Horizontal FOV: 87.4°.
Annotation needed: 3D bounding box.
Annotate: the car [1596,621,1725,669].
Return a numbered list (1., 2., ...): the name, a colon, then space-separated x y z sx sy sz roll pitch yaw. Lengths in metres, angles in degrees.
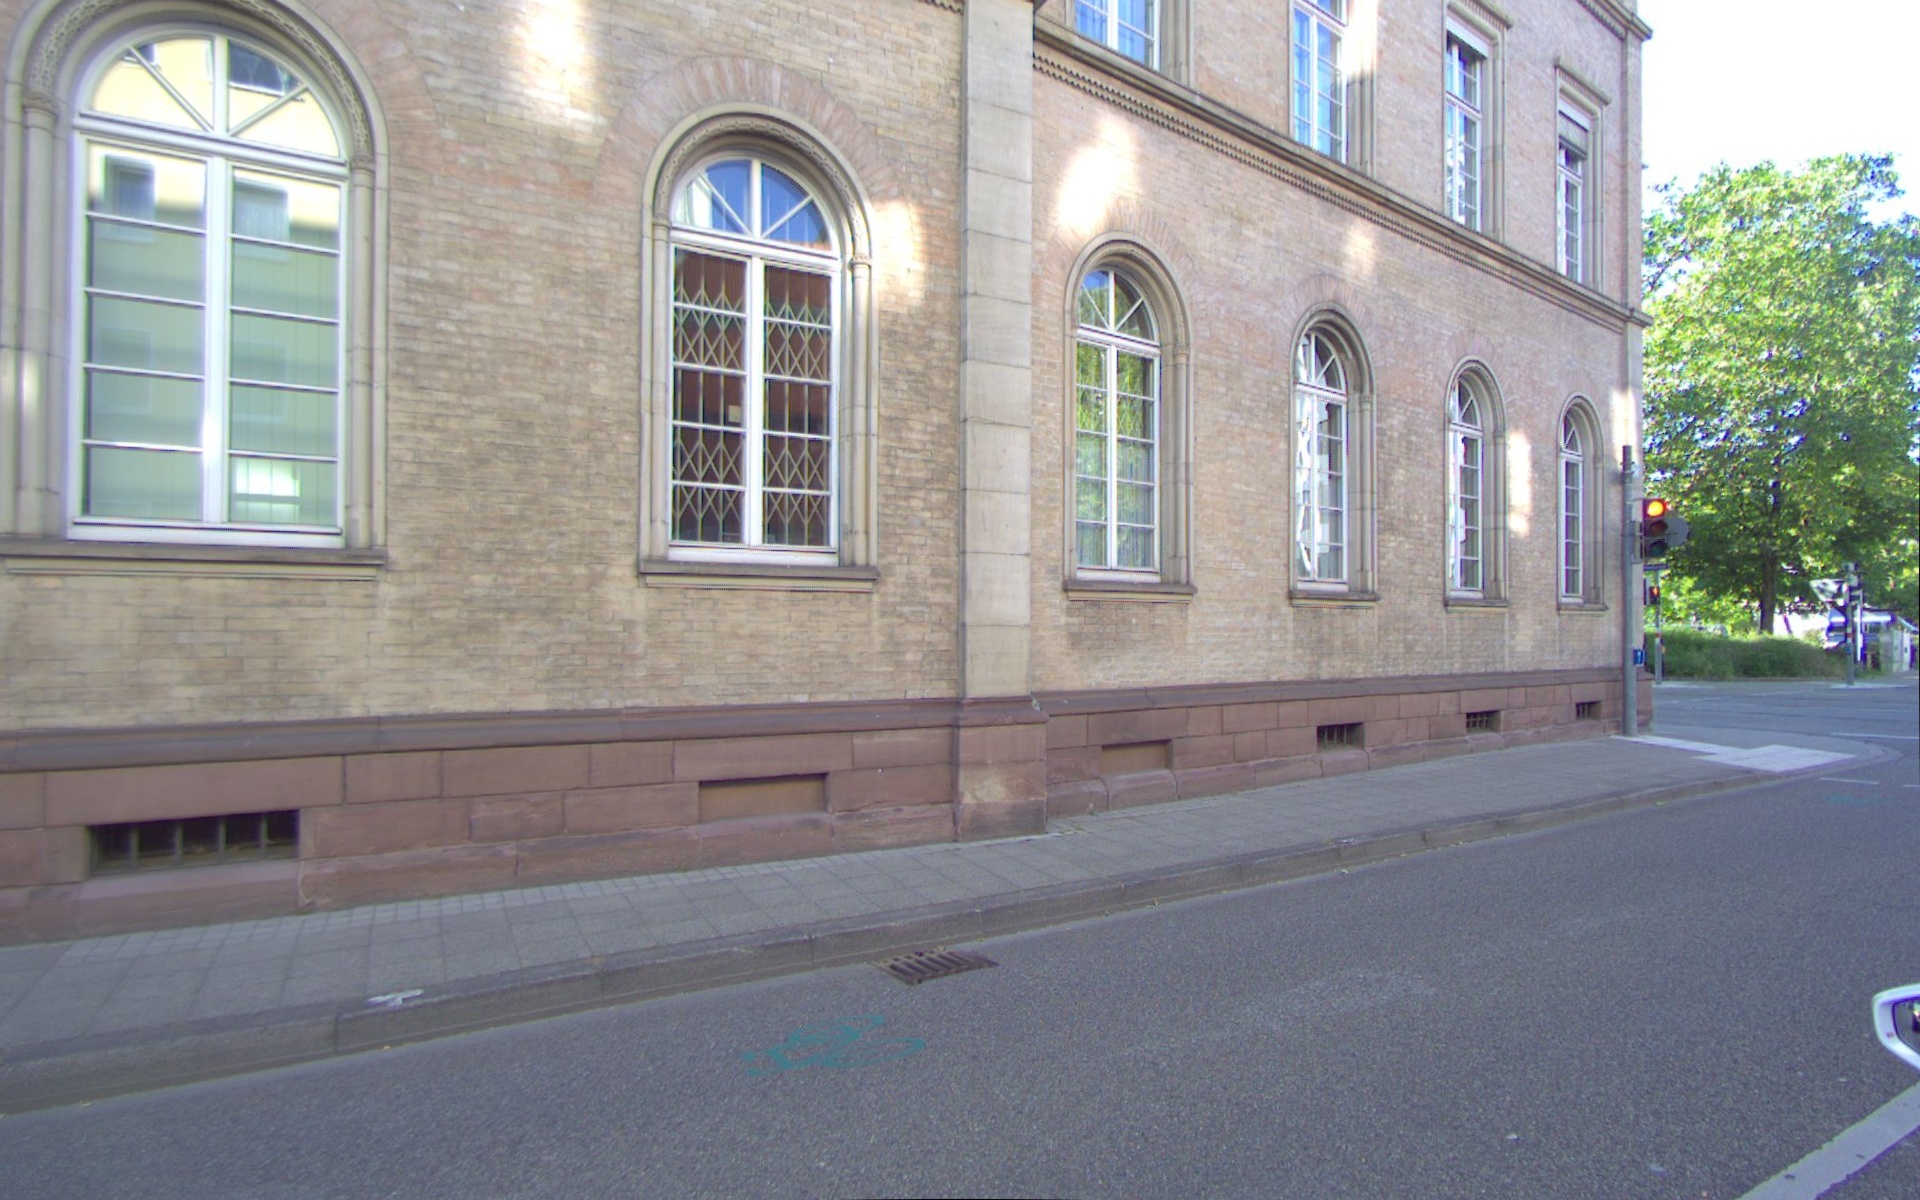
1. car: 24.371 1.522 35.020 1.636 1.476 3.382 2 0 -39

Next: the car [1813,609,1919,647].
1. car: 53.495 1.613 59.379 1.983 2.040 4.409 2 0 -38
